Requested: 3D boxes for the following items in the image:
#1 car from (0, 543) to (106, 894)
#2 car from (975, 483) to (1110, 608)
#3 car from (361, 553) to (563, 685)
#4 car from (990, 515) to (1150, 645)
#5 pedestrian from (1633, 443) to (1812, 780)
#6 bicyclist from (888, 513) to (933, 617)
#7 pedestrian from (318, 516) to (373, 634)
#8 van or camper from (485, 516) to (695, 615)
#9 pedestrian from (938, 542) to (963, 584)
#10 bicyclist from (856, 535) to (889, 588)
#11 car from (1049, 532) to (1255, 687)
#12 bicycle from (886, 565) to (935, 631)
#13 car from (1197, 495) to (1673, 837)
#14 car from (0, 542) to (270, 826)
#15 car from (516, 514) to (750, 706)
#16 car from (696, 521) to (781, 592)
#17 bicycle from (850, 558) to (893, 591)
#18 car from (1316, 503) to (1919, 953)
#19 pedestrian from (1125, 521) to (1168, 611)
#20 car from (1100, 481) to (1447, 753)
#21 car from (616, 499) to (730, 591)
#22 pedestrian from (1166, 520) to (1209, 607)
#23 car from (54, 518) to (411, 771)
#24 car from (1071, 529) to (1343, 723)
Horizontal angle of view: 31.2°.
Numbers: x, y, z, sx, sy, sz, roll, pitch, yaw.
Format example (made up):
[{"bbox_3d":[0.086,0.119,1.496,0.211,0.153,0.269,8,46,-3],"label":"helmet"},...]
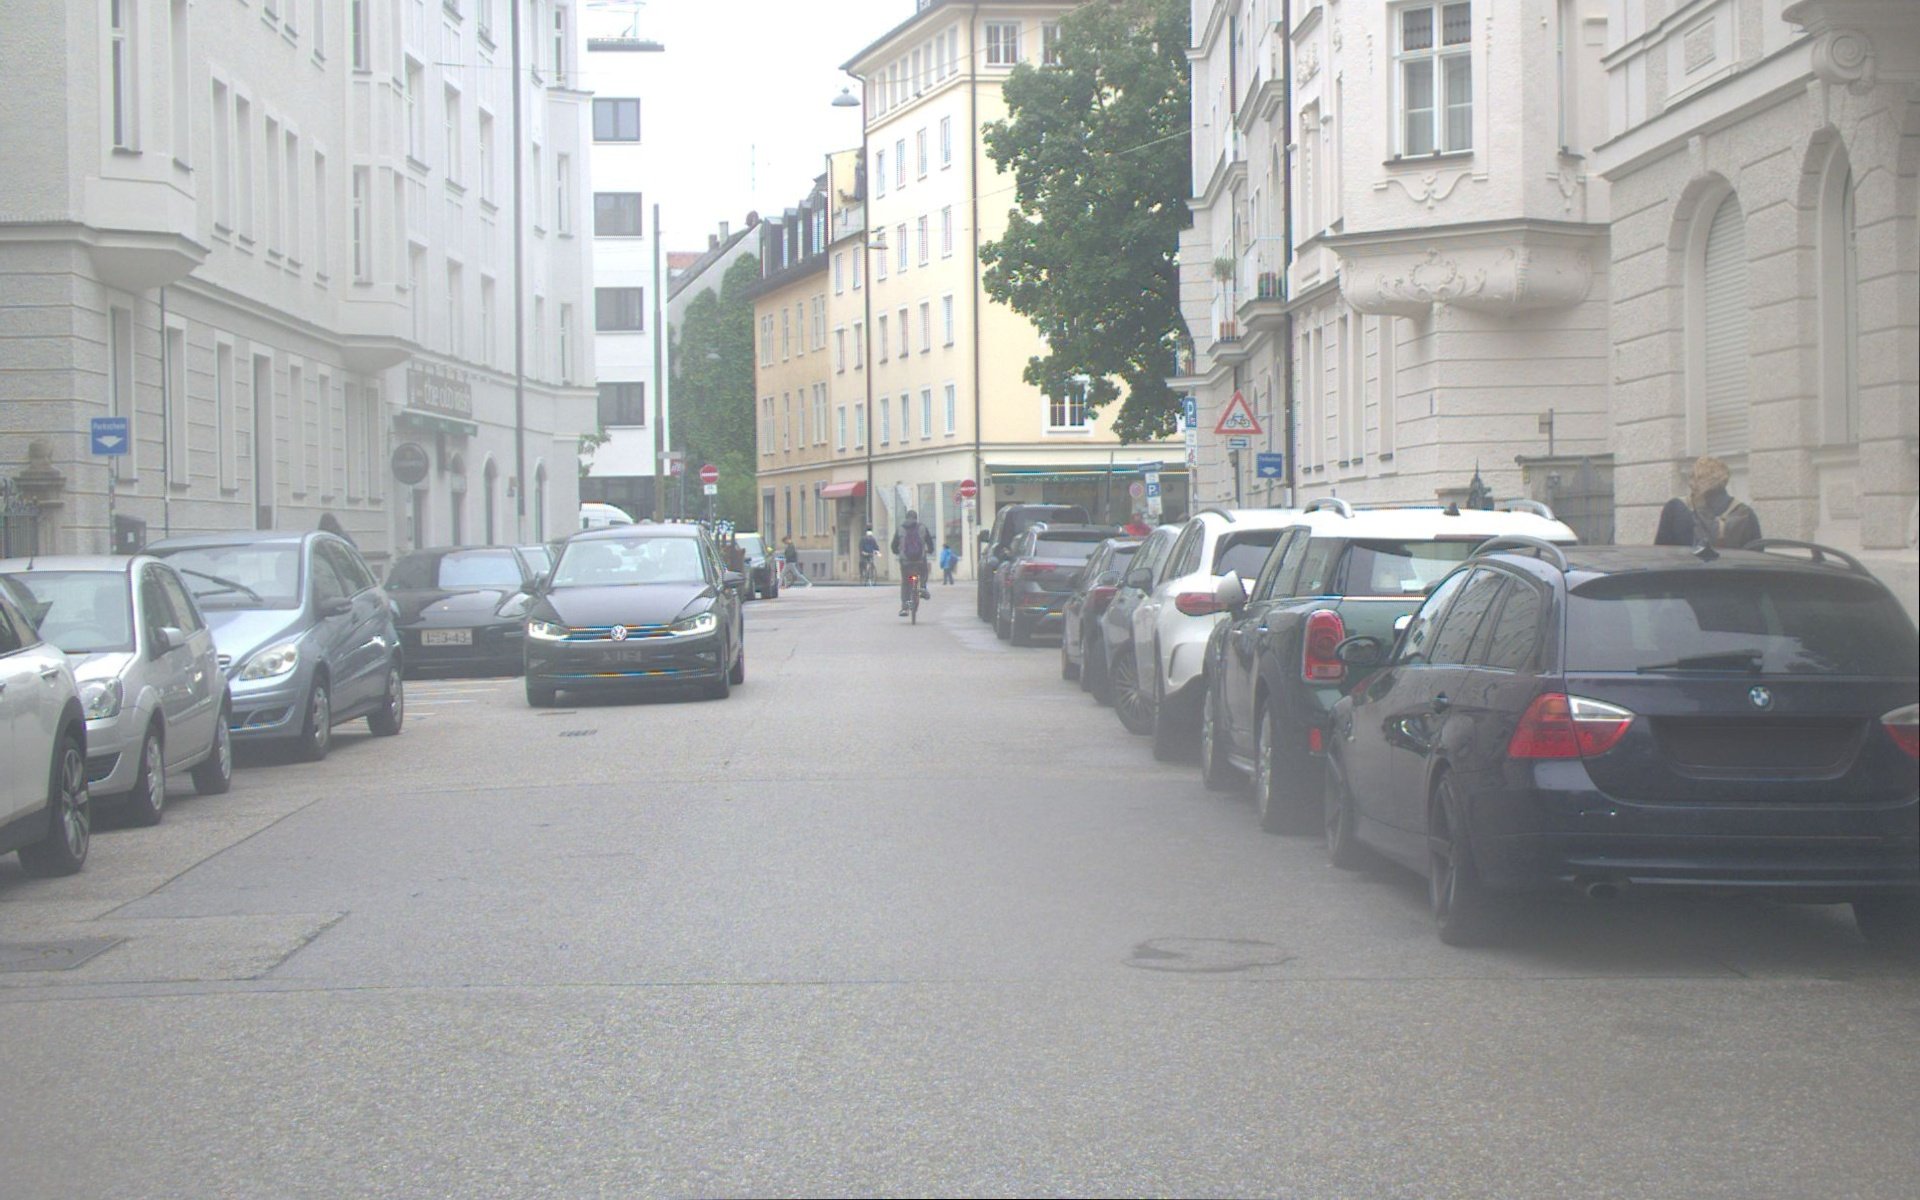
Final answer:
[{"bbox_3d":[-4.816,0.493,13.940,1.797,1.430,4.080,-1,0,-2],"label":"car"},{"bbox_3d":[1.285,-0.856,55.357,1.911,1.879,4.714,1,0,-1],"label":"car"},{"bbox_3d":[-5.505,0.178,38.463,1.849,1.362,4.703,-1,1,-4],"label":"car"},{"bbox_3d":[1.376,-0.276,44.374,1.707,1.582,4.001,1,1,-3],"label":"car"},{"bbox_3d":[4.173,0.055,18.861,0.682,1.769,0.855,-4,1,0],"label":"pedestrian"},{"bbox_3d":[-0.770,-0.549,53.423,0.606,1.601,0.757,-1,1,4],"label":"bicyclist"},{"bbox_3d":[-8.928,-0.366,49.945,0.697,1.701,0.665,-1,0,-4],"label":"pedestrian"},{"bbox_3d":[-10.693,-0.989,99.218,5.903,2.668,1.873,-1,-1,-9],"label":"van or camper"},{"bbox_3d":[-0.279,-1.141,106.160,0.699,1.266,0.651,-2,0,3],"label":"pedestrian"},{"bbox_3d":[-2.705,-1.194,106.142,0.781,1.632,0.976,-1,1,-15],"label":"bicyclist"},{"bbox_3d":[1.794,0.060,33.181,1.612,1.390,4.000,1,1,-2],"label":"car"},{"bbox_3d":[-0.766,-0.040,53.378,0.639,1.001,1.574,-1,0,3],"label":"bicycle"},{"bbox_3d":[2.268,0.269,17.461,1.748,1.519,4.170,0,1,-1],"label":"car"},{"bbox_3d":[-5.029,0.431,19.427,1.644,1.398,4.001,-3,1,-4],"label":"car"},{"bbox_3d":[-2.885,0.069,31.078,1.724,1.528,4.086,-3,0,-1],"label":"car"},{"bbox_3d":[-5.337,-1.025,83.199,1.676,1.591,3.945,-3,0,0],"label":"car"},{"bbox_3d":[-2.735,-0.803,106.284,0.846,0.998,2.170,-1,1,-15],"label":"bicycle"},{"bbox_3d":[2.499,0.369,13.168,1.711,1.447,4.225,0,1,-2],"label":"car"},{"bbox_3d":[3.636,-0.657,67.023,0.703,1.722,0.703,-2,1,-4],"label":"pedestrian"},{"bbox_3d":[2.006,0.049,23.214,1.895,1.630,4.391,-1,1,0],"label":"car"},{"bbox_3d":[-5.754,-1.102,69.322,1.843,1.751,4.000,-1,1,1],"label":"car"},{"bbox_3d":[4.462,-0.719,67.429,0.679,1.668,0.654,-3,1,-4],"label":"pedestrian"},{"bbox_3d":[-5.121,0.256,24.701,1.696,1.575,4.062,-3,1,-1],"label":"car"},{"bbox_3d":[1.981,0.187,28.620,1.708,1.496,4.001,0,0,-4],"label":"car"}]
